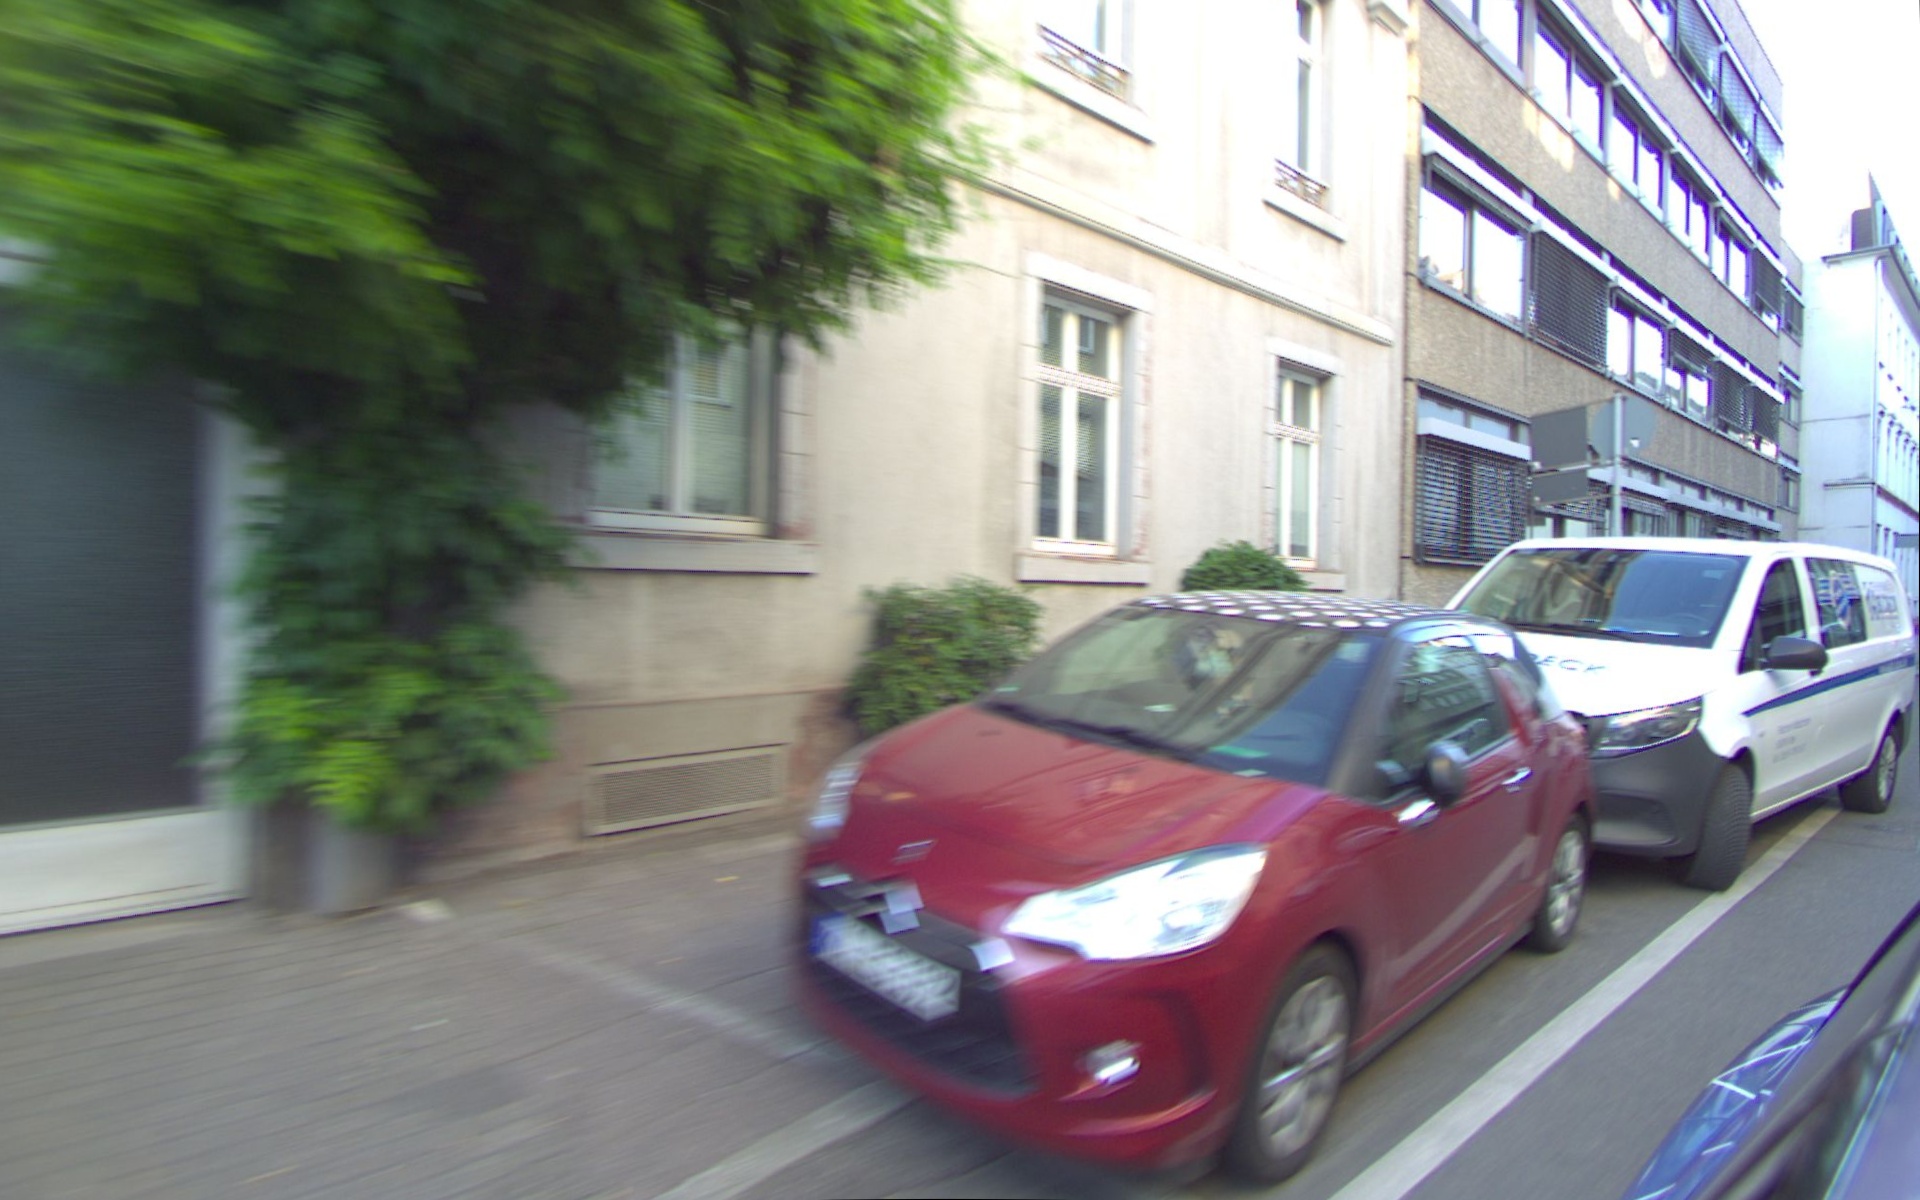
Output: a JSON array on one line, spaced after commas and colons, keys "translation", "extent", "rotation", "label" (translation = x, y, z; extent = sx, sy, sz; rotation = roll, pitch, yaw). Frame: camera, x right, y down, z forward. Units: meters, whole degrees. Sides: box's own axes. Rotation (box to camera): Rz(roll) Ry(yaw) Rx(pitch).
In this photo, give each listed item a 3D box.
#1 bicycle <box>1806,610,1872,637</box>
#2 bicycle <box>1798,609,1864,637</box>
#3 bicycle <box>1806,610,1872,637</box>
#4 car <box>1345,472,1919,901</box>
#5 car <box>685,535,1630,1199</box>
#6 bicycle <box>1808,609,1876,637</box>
[{"translation": [31.872, 0.838, 36.700], "extent": [0.390, 0.934, 1.796], "rotation": [0, 0, -45], "label": "bicycle"}, {"translation": [30.334, 0.793, 35.263], "extent": [1.738, 0.934, 0.530], "rotation": [0, 0, 42], "label": "bicycle"}, {"translation": [31.493, 0.840, 36.282], "extent": [1.794, 0.934, 0.509], "rotation": [0, 0, 42], "label": "bicycle"}, {"translation": [4.934, 0.374, 6.923], "extent": [5.181, 1.921, 1.941], "rotation": [0, 1, -39], "label": "car"}, {"translation": [1.057, 0.626, 3.787], "extent": [3.691, 1.524, 1.656], "rotation": [0, 1, -44], "label": "car"}, {"translation": [31.049, 0.793, 35.660], "extent": [1.794, 0.934, 0.530], "rotation": [0, 0, 42], "label": "bicycle"}]
